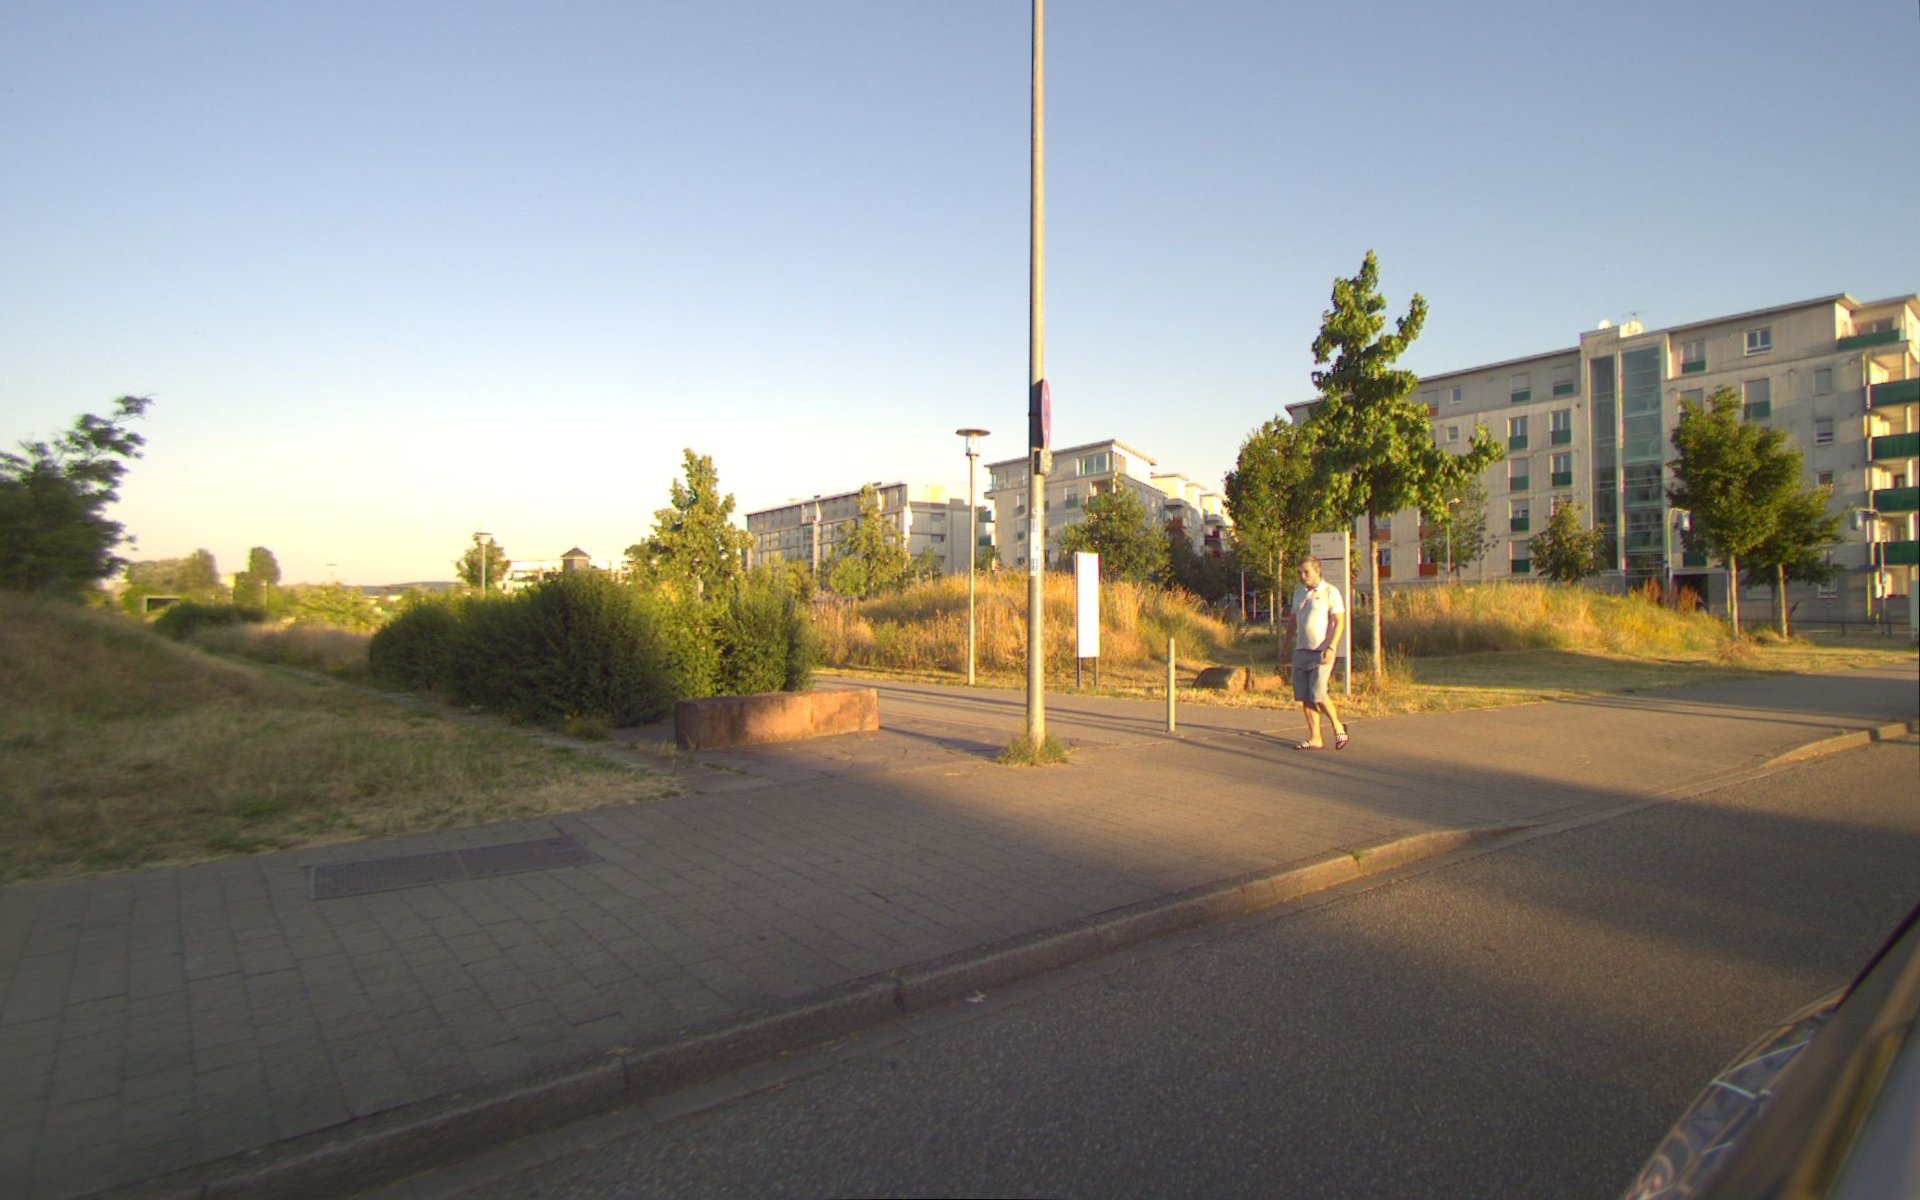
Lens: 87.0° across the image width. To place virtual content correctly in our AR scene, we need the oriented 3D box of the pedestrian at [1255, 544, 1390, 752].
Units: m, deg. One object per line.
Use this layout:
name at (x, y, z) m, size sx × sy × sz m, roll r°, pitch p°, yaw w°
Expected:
pedestrian at (3.307, 0.392, 9.262) m, size 0.802 × 1.788 × 0.834 m, roll -1°, pitch 2°, yaw -34°

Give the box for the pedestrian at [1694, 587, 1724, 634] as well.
pedestrian at (29.562, 0.420, 39.936) m, size 0.787 × 1.807 × 0.733 m, roll 2°, pitch -2°, yaw -39°
